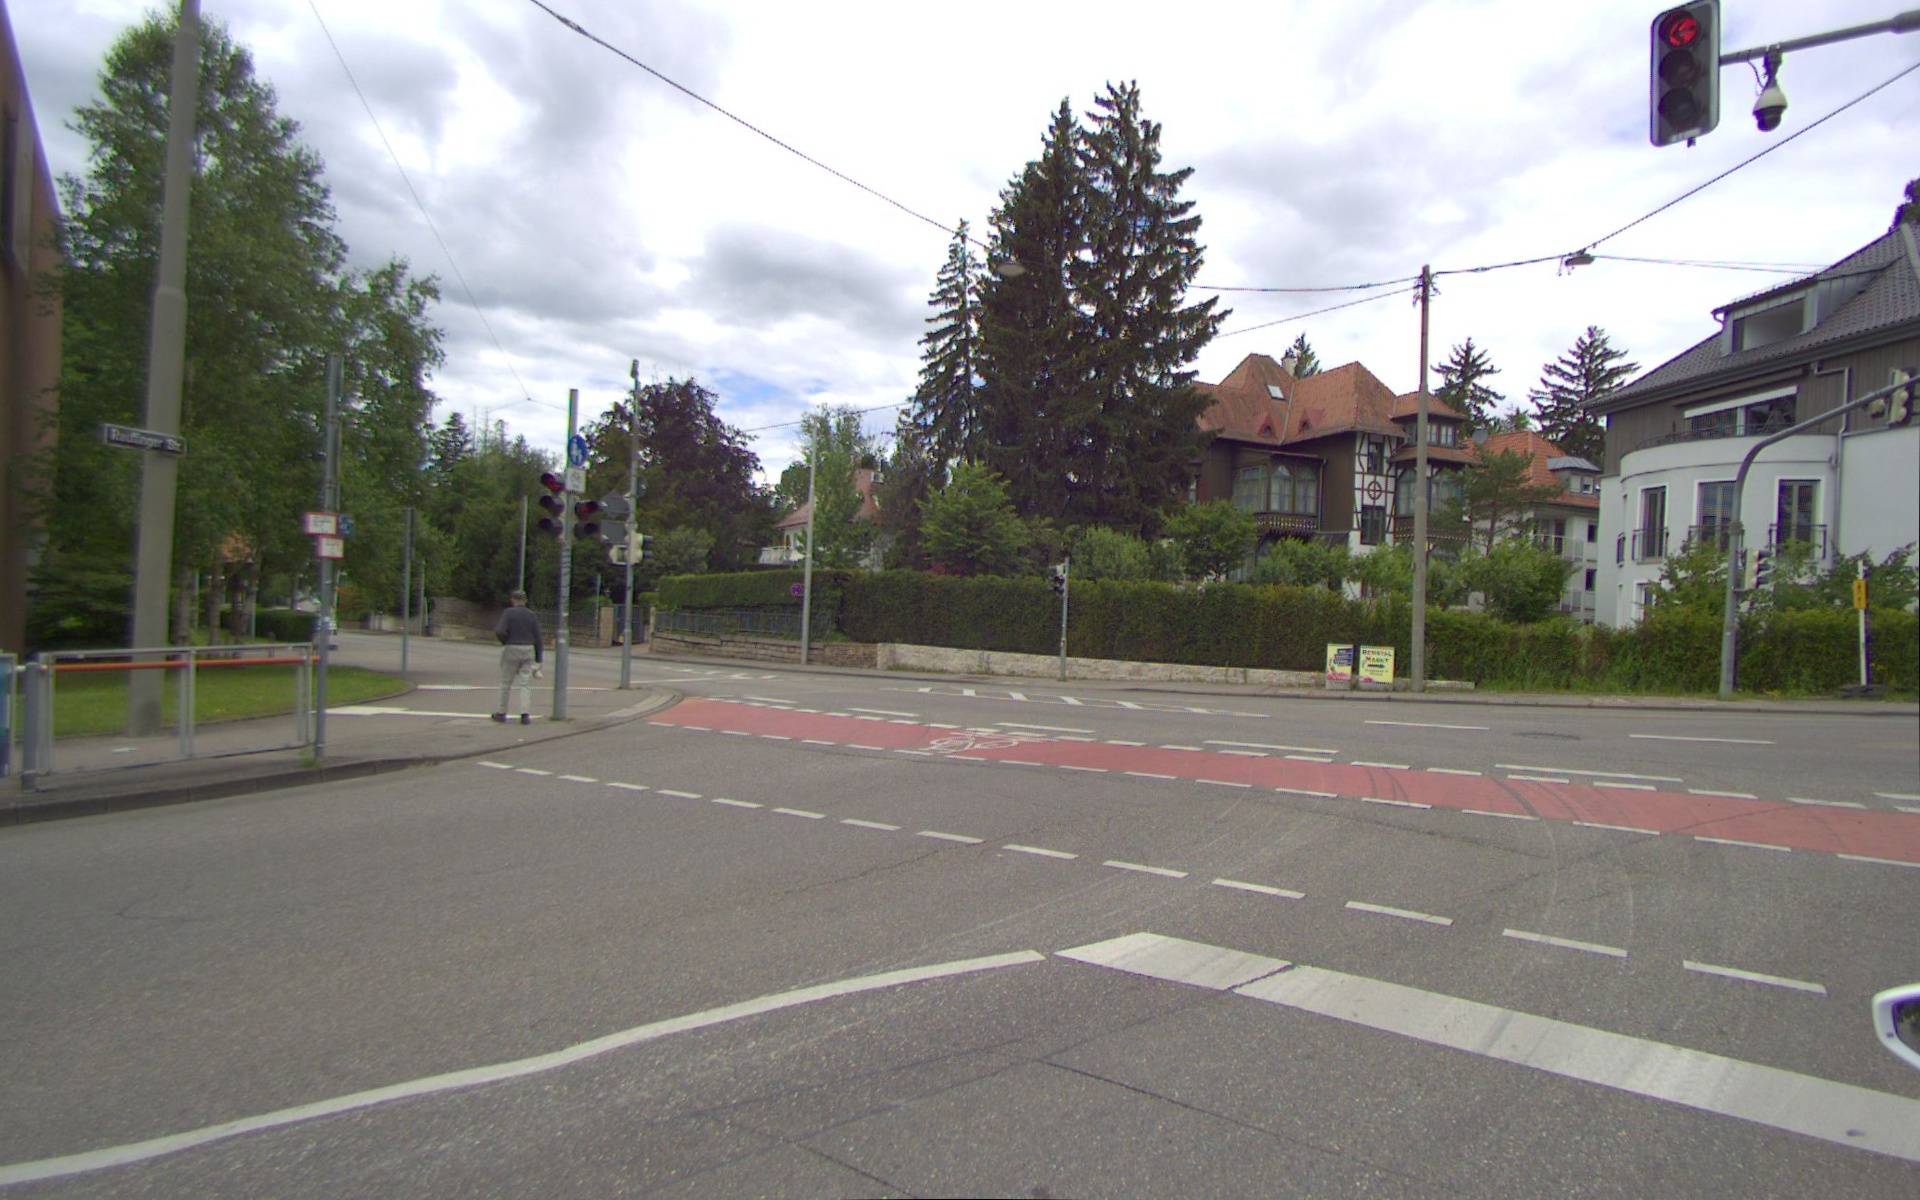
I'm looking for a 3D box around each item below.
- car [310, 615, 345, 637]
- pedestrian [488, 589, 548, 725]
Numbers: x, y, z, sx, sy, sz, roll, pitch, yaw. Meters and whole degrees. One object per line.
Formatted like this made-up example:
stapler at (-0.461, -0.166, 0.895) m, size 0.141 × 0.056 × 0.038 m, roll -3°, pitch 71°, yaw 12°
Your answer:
car at (-45.968, 1.870, 72.952) m, size 1.695 × 1.432 × 4.376 m, roll 1°, pitch 0°, yaw -39°
pedestrian at (-5.594, 0.694, 12.705) m, size 0.674 × 1.655 × 0.735 m, roll 0°, pitch -1°, yaw -25°
